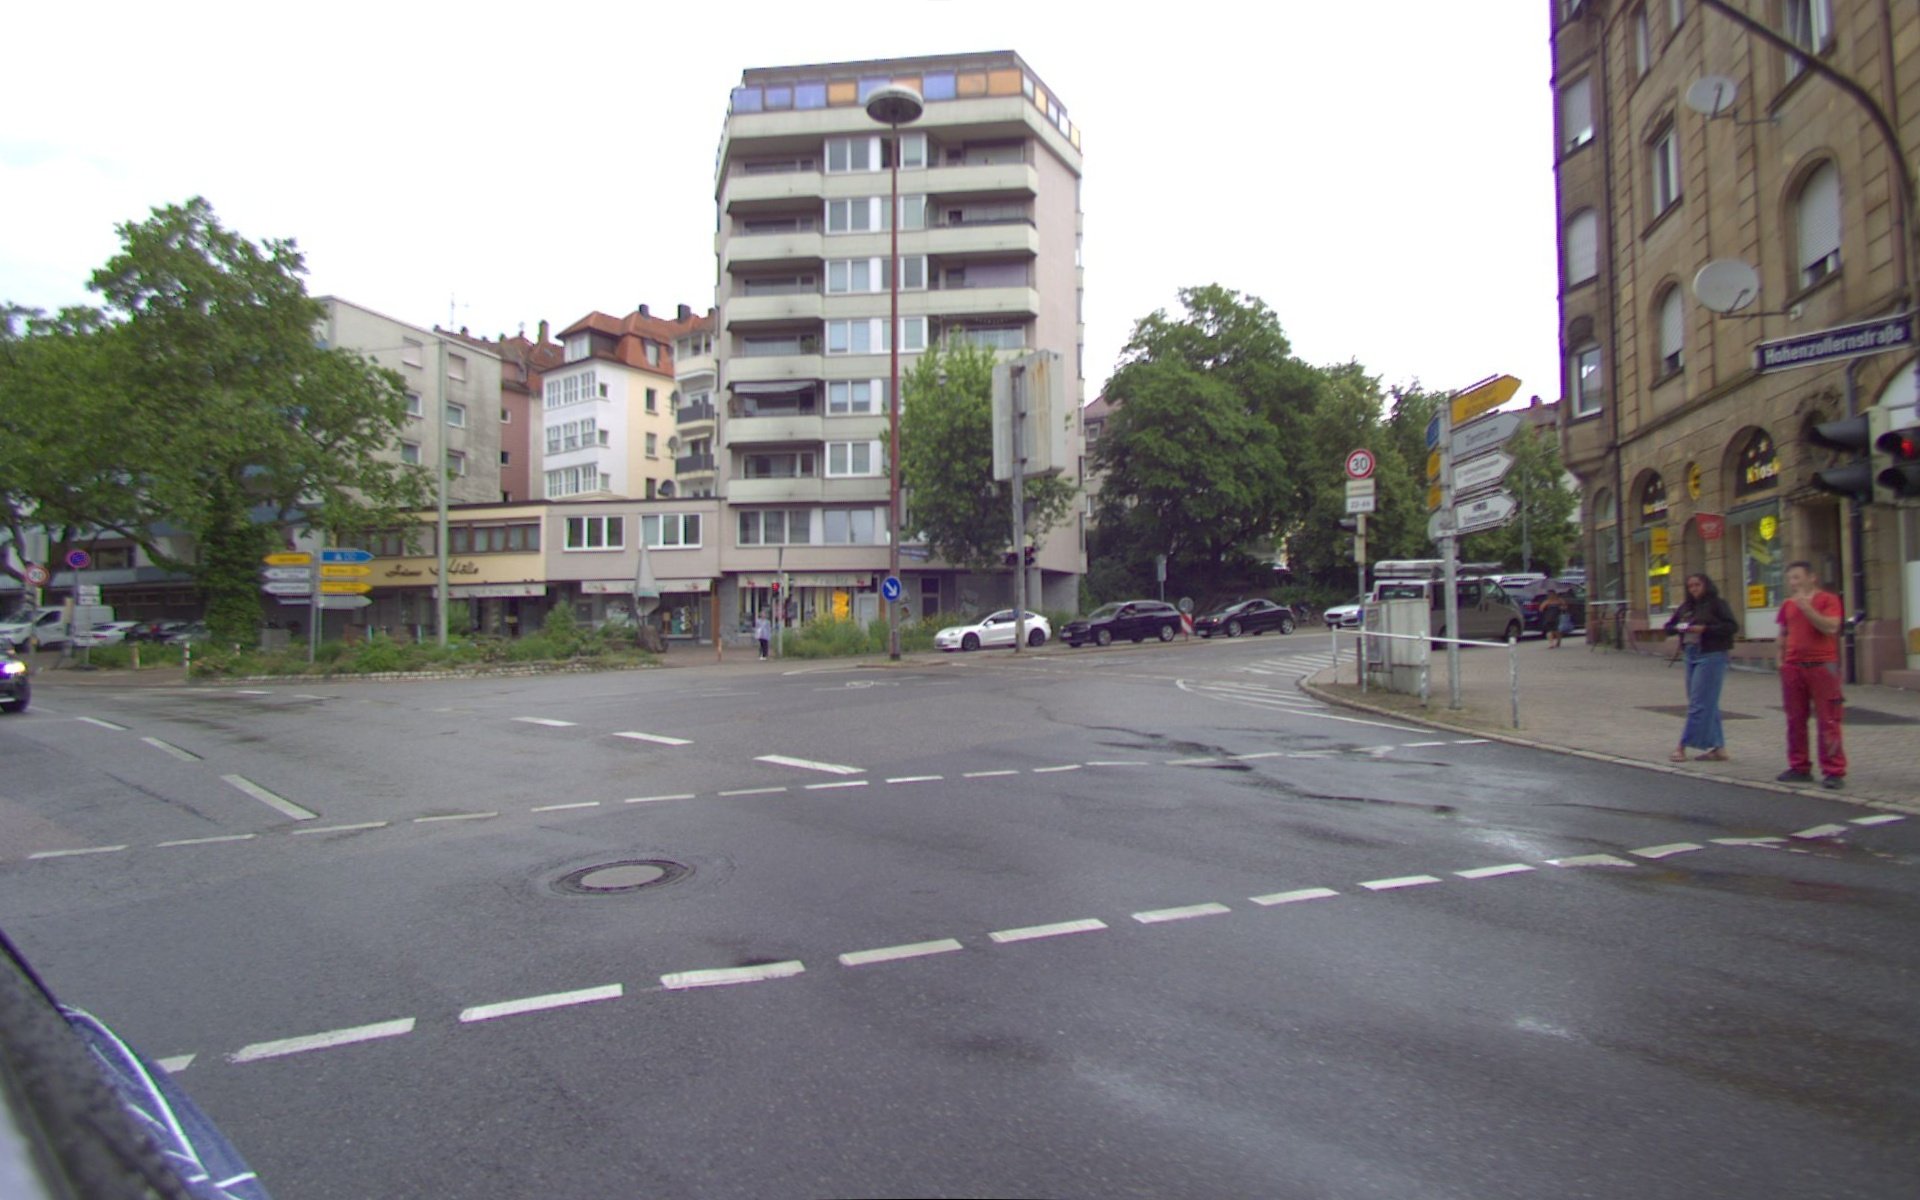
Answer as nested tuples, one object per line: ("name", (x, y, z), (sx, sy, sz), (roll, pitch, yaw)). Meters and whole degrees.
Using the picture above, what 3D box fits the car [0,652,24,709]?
("car", (-27.709, 2.235, 28.083), (3.858, 1.530, 1.612), (-2, -2, 32))

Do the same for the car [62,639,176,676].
("car", (-37.089, 2.513, 44.750), (1.790, 1.426, 3.698), (0, -1, 6))

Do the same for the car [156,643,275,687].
("car", (-31.957, 2.742, 43.602), (1.915, 1.655, 4.214), (0, -1, 2))

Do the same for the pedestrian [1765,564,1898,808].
("pedestrian", (6.756, 0.639, 7.854), (0.516, 1.787, 0.694), (0, -2, -44))

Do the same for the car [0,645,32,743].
("car", (-17.225, 1.539, 16.742), (4.201, 1.546, 1.738), (-2, -2, 32))

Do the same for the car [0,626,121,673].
("car", (-41.910, 2.214, 46.654), (1.860, 1.992, 4.959), (0, -1, 11))

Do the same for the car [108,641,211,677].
("car", (-34.907, 2.550, 44.239), (1.609, 1.426, 3.620), (0, -1, 2))

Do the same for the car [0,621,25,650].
("car", (-48.930, 1.756, 49.953), (1.673, 1.416, 3.824), (0, -1, 10))

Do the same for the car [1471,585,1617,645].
("car", (17.906, 0.457, 30.997), (4.307, 1.717, 2.006), (0, -1, -31))

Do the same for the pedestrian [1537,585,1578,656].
("pedestrian", (14.413, 0.492, 24.411), (0.781, 1.674, 0.663), (-2, -1, 34))

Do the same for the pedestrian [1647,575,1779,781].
("pedestrian", (6.679, 0.661, 8.984), (0.829, 1.715, 0.629), (-2, -2, 44))

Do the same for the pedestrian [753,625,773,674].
("pedestrian", (-6.970, 1.750, 35.793), (0.609, 1.706, 0.627), (-1, -1, -15))

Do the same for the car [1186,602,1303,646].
("car", (10.409, 0.865, 37.024), (3.954, 1.503, 1.772), (0, -3, -28))

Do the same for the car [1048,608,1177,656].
("car", (5.148, 1.082, 34.122), (3.954, 1.503, 1.772), (0, -3, -28))

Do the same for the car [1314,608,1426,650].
("car", (16.244, 1.151, 40.055), (4.228, 1.549, 1.744), (0, -3, -28))

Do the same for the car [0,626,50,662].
("car", (-46.580, 2.102, 48.669), (1.788, 1.702, 3.821), (1, -1, 12))

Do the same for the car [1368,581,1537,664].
("car", (13.909, 0.607, 28.516), (4.722, 2.185, 2.006), (0, -1, -31))

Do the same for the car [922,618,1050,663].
("car", (0.973, 1.457, 37.264), (4.317, 1.503, 1.920), (0, -1, -28))
